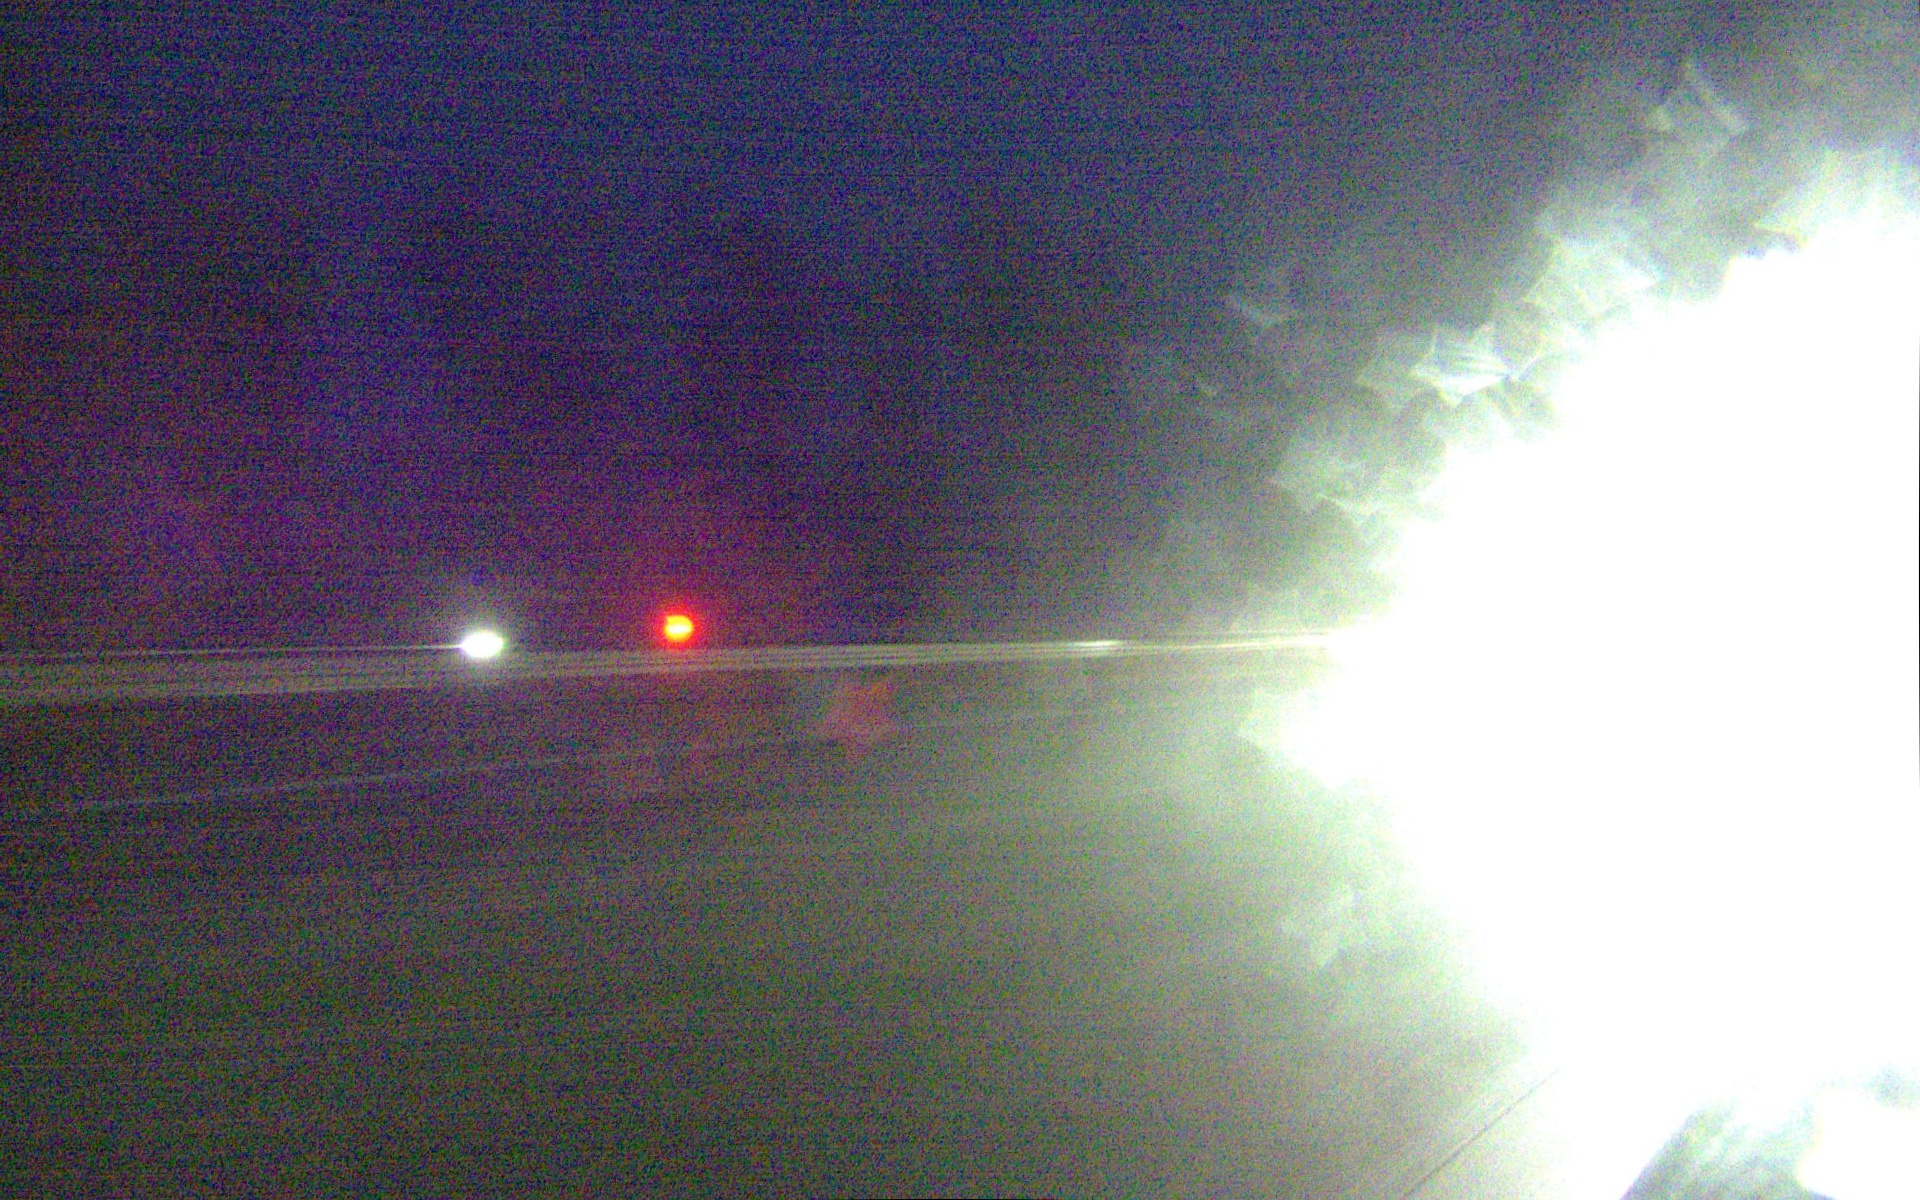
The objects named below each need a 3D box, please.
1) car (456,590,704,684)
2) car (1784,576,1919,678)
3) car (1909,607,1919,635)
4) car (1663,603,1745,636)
[{"bbox_3d":[-9.018,0.853,24.141,5.337,2.040,2.071,0,-2,-28],"label":"car"},{"bbox_3d":[16.570,0.490,18.200,3.610,1.645,1.847,1,-3,-37],"label":"car"},{"bbox_3d":[70.732,1.468,73.258,3.923,2.040,1.999,0,-4,-34],"label":"car"},{"bbox_3d":[38.624,1.023,52.547,3.921,1.571,2.000,0,-3,-31],"label":"car"}]
